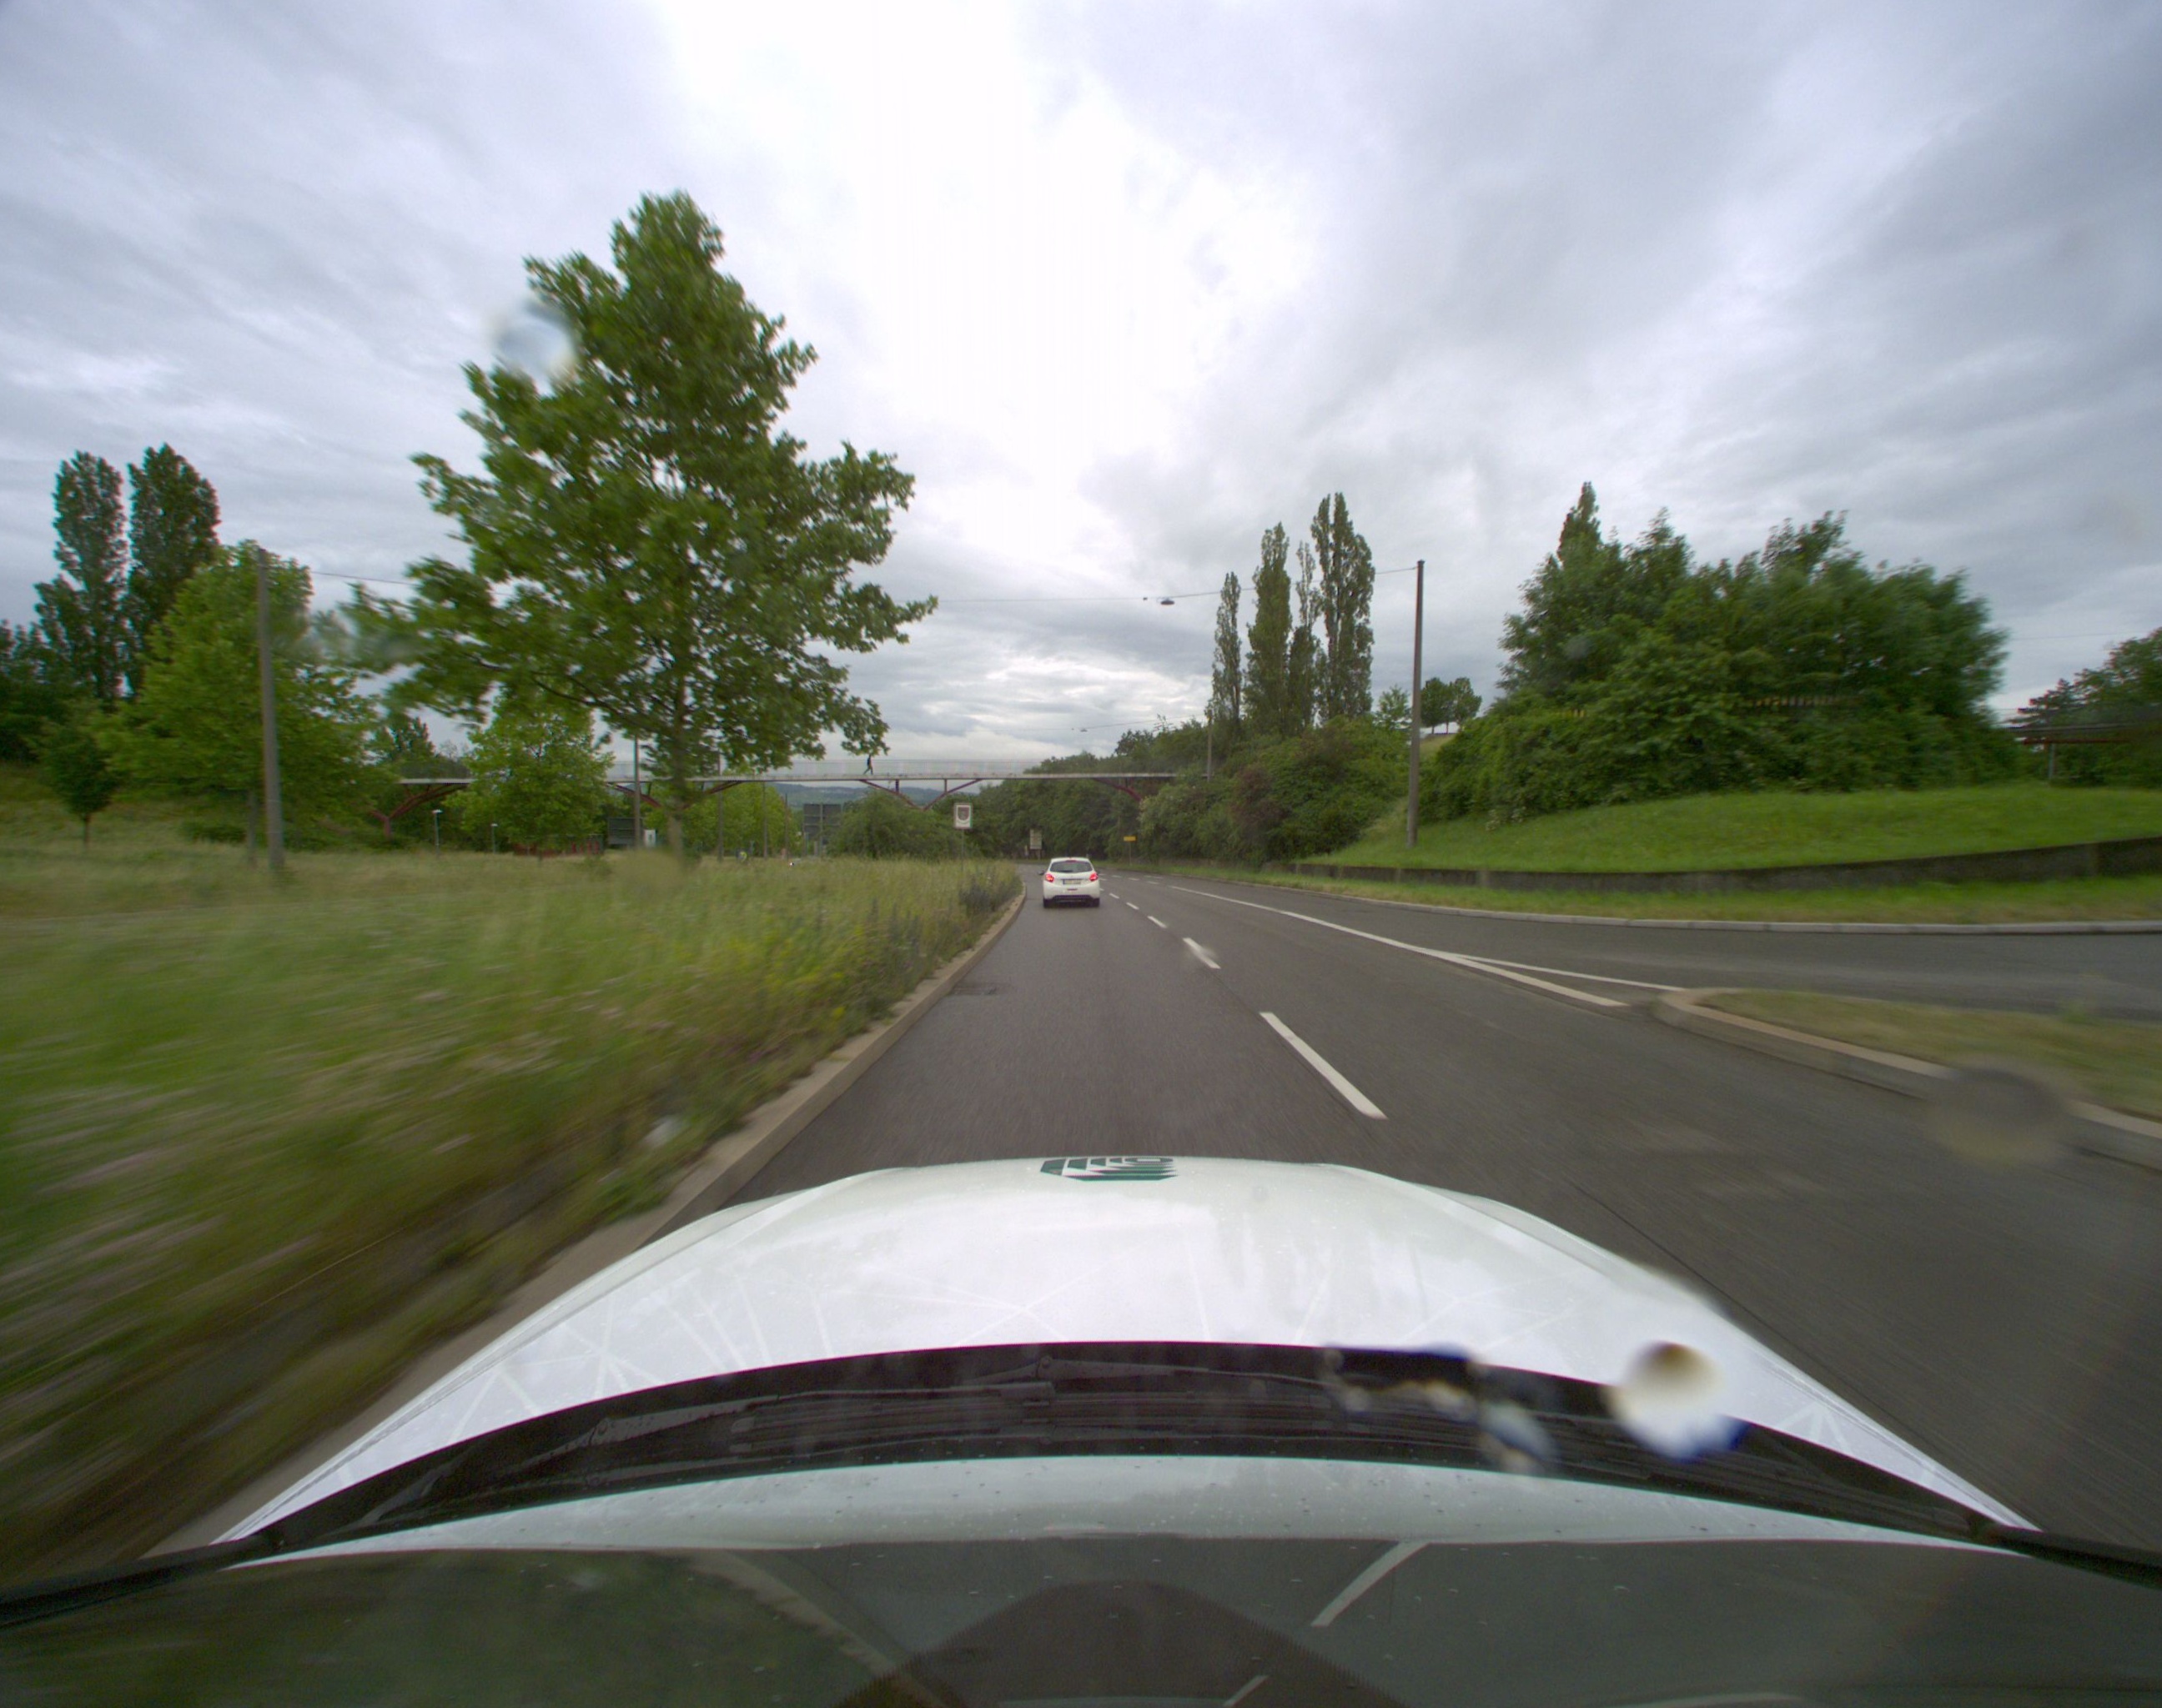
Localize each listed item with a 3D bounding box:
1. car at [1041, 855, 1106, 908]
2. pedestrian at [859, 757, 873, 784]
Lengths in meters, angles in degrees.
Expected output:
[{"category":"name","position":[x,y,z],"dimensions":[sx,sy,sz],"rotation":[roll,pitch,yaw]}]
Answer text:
[{"category":"car","position":[-0.269,0.786,25.377],"dimensions":[1.863,1.511,3.897],"rotation":[0,0,-1]},{"category":"pedestrian","position":[-17.700,-6.848,67.101],"dimensions":[0.914,2.143,0.729],"rotation":[-3,0,-11]}]
